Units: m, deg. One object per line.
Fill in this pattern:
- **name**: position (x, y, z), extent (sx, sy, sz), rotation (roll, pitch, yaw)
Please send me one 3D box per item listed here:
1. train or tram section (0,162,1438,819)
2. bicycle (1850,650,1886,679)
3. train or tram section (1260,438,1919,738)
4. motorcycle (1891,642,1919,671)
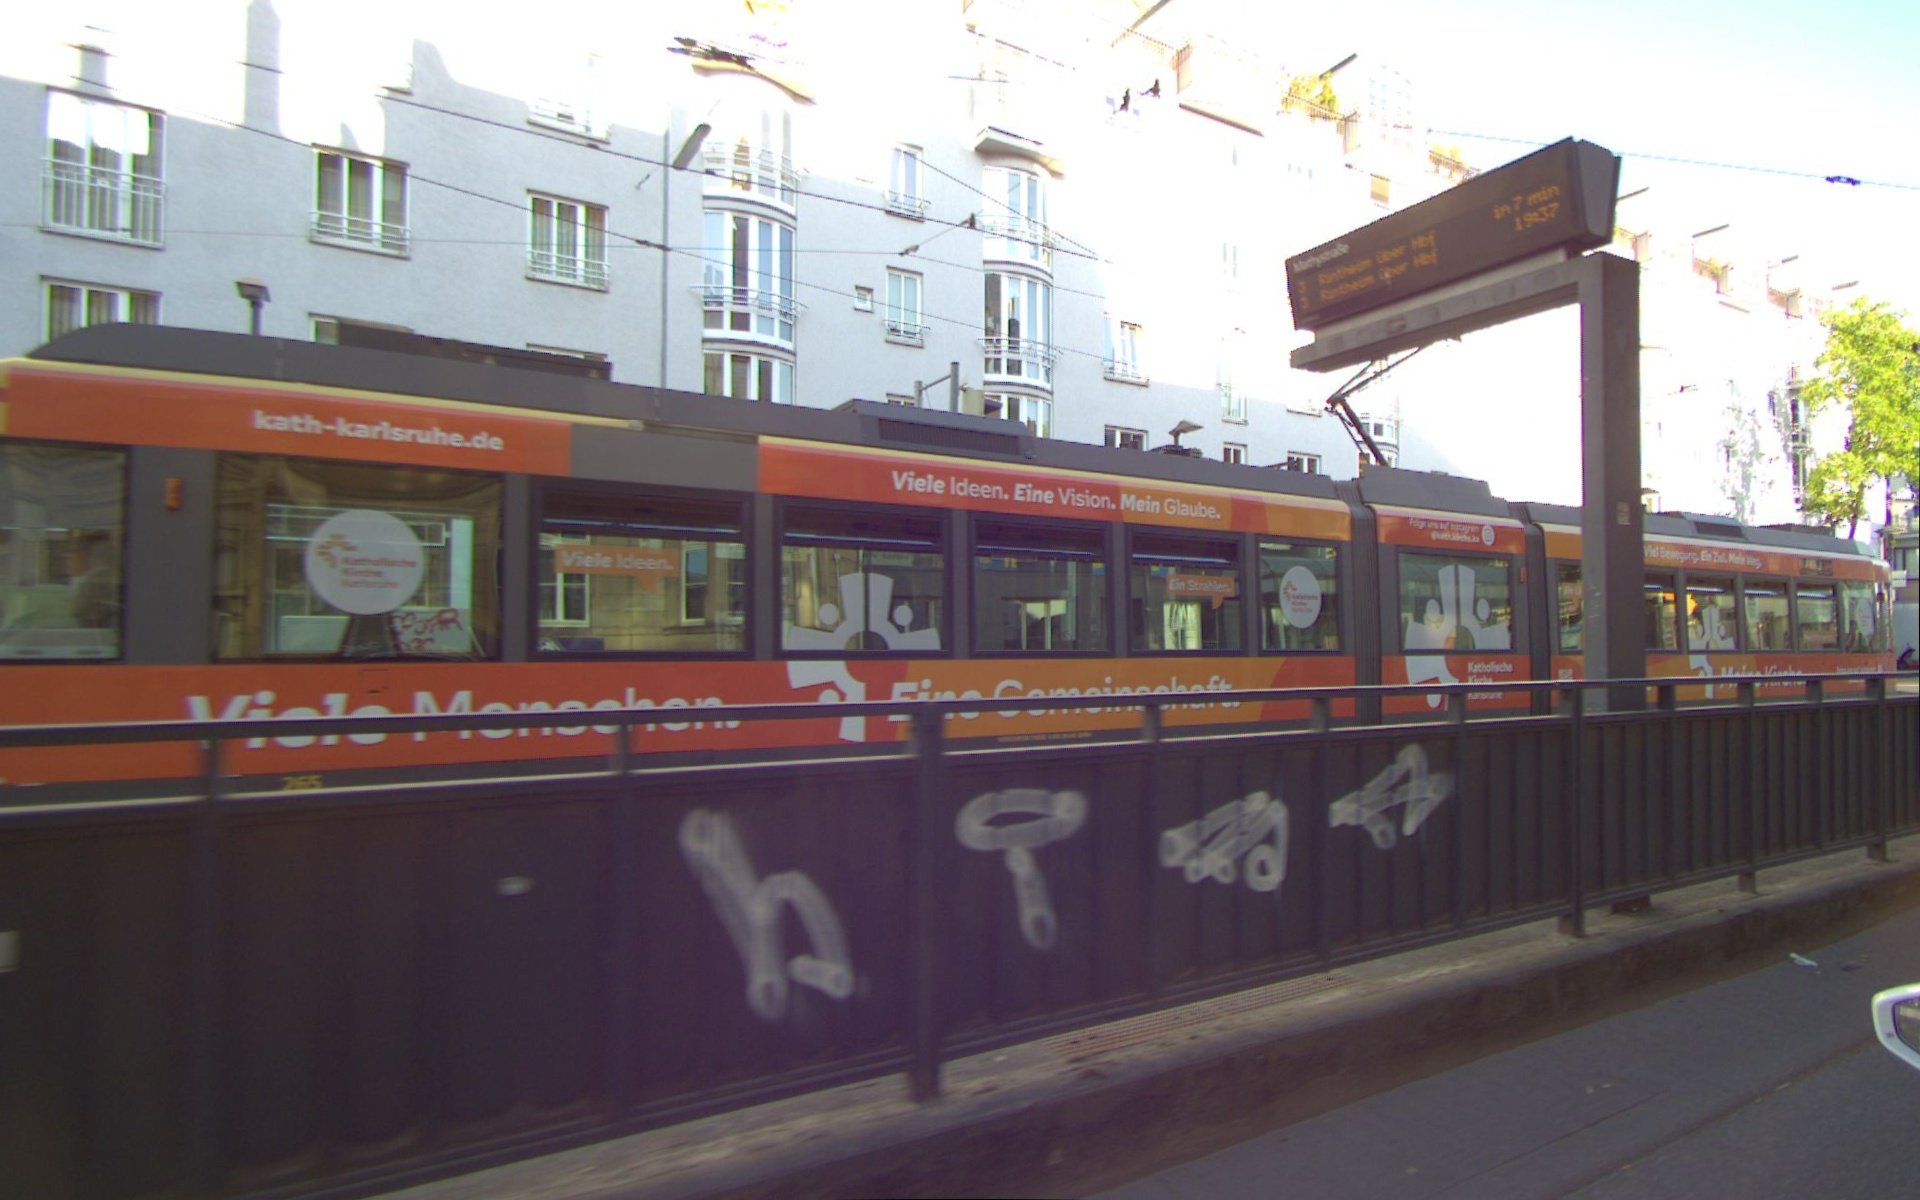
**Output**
- **train or tram section**: position (-1.078, -0.407, 9.515), extent (14.003, 3.536, 2.871), rotation (2, -2, -31)
- **bicycle**: position (36.711, 2.602, 40.603), extent (1.779, 1.122, 0.496), rotation (1, 2, -30)
- **train or tram section**: position (11.385, 0.086, 16.730), extent (14.771, 3.536, 2.872), rotation (2, -2, -30)
- **motorcycle**: position (46.444, 2.780, 48.718), extent (0.600, 1.315, 1.782), rotation (2, 2, -35)
